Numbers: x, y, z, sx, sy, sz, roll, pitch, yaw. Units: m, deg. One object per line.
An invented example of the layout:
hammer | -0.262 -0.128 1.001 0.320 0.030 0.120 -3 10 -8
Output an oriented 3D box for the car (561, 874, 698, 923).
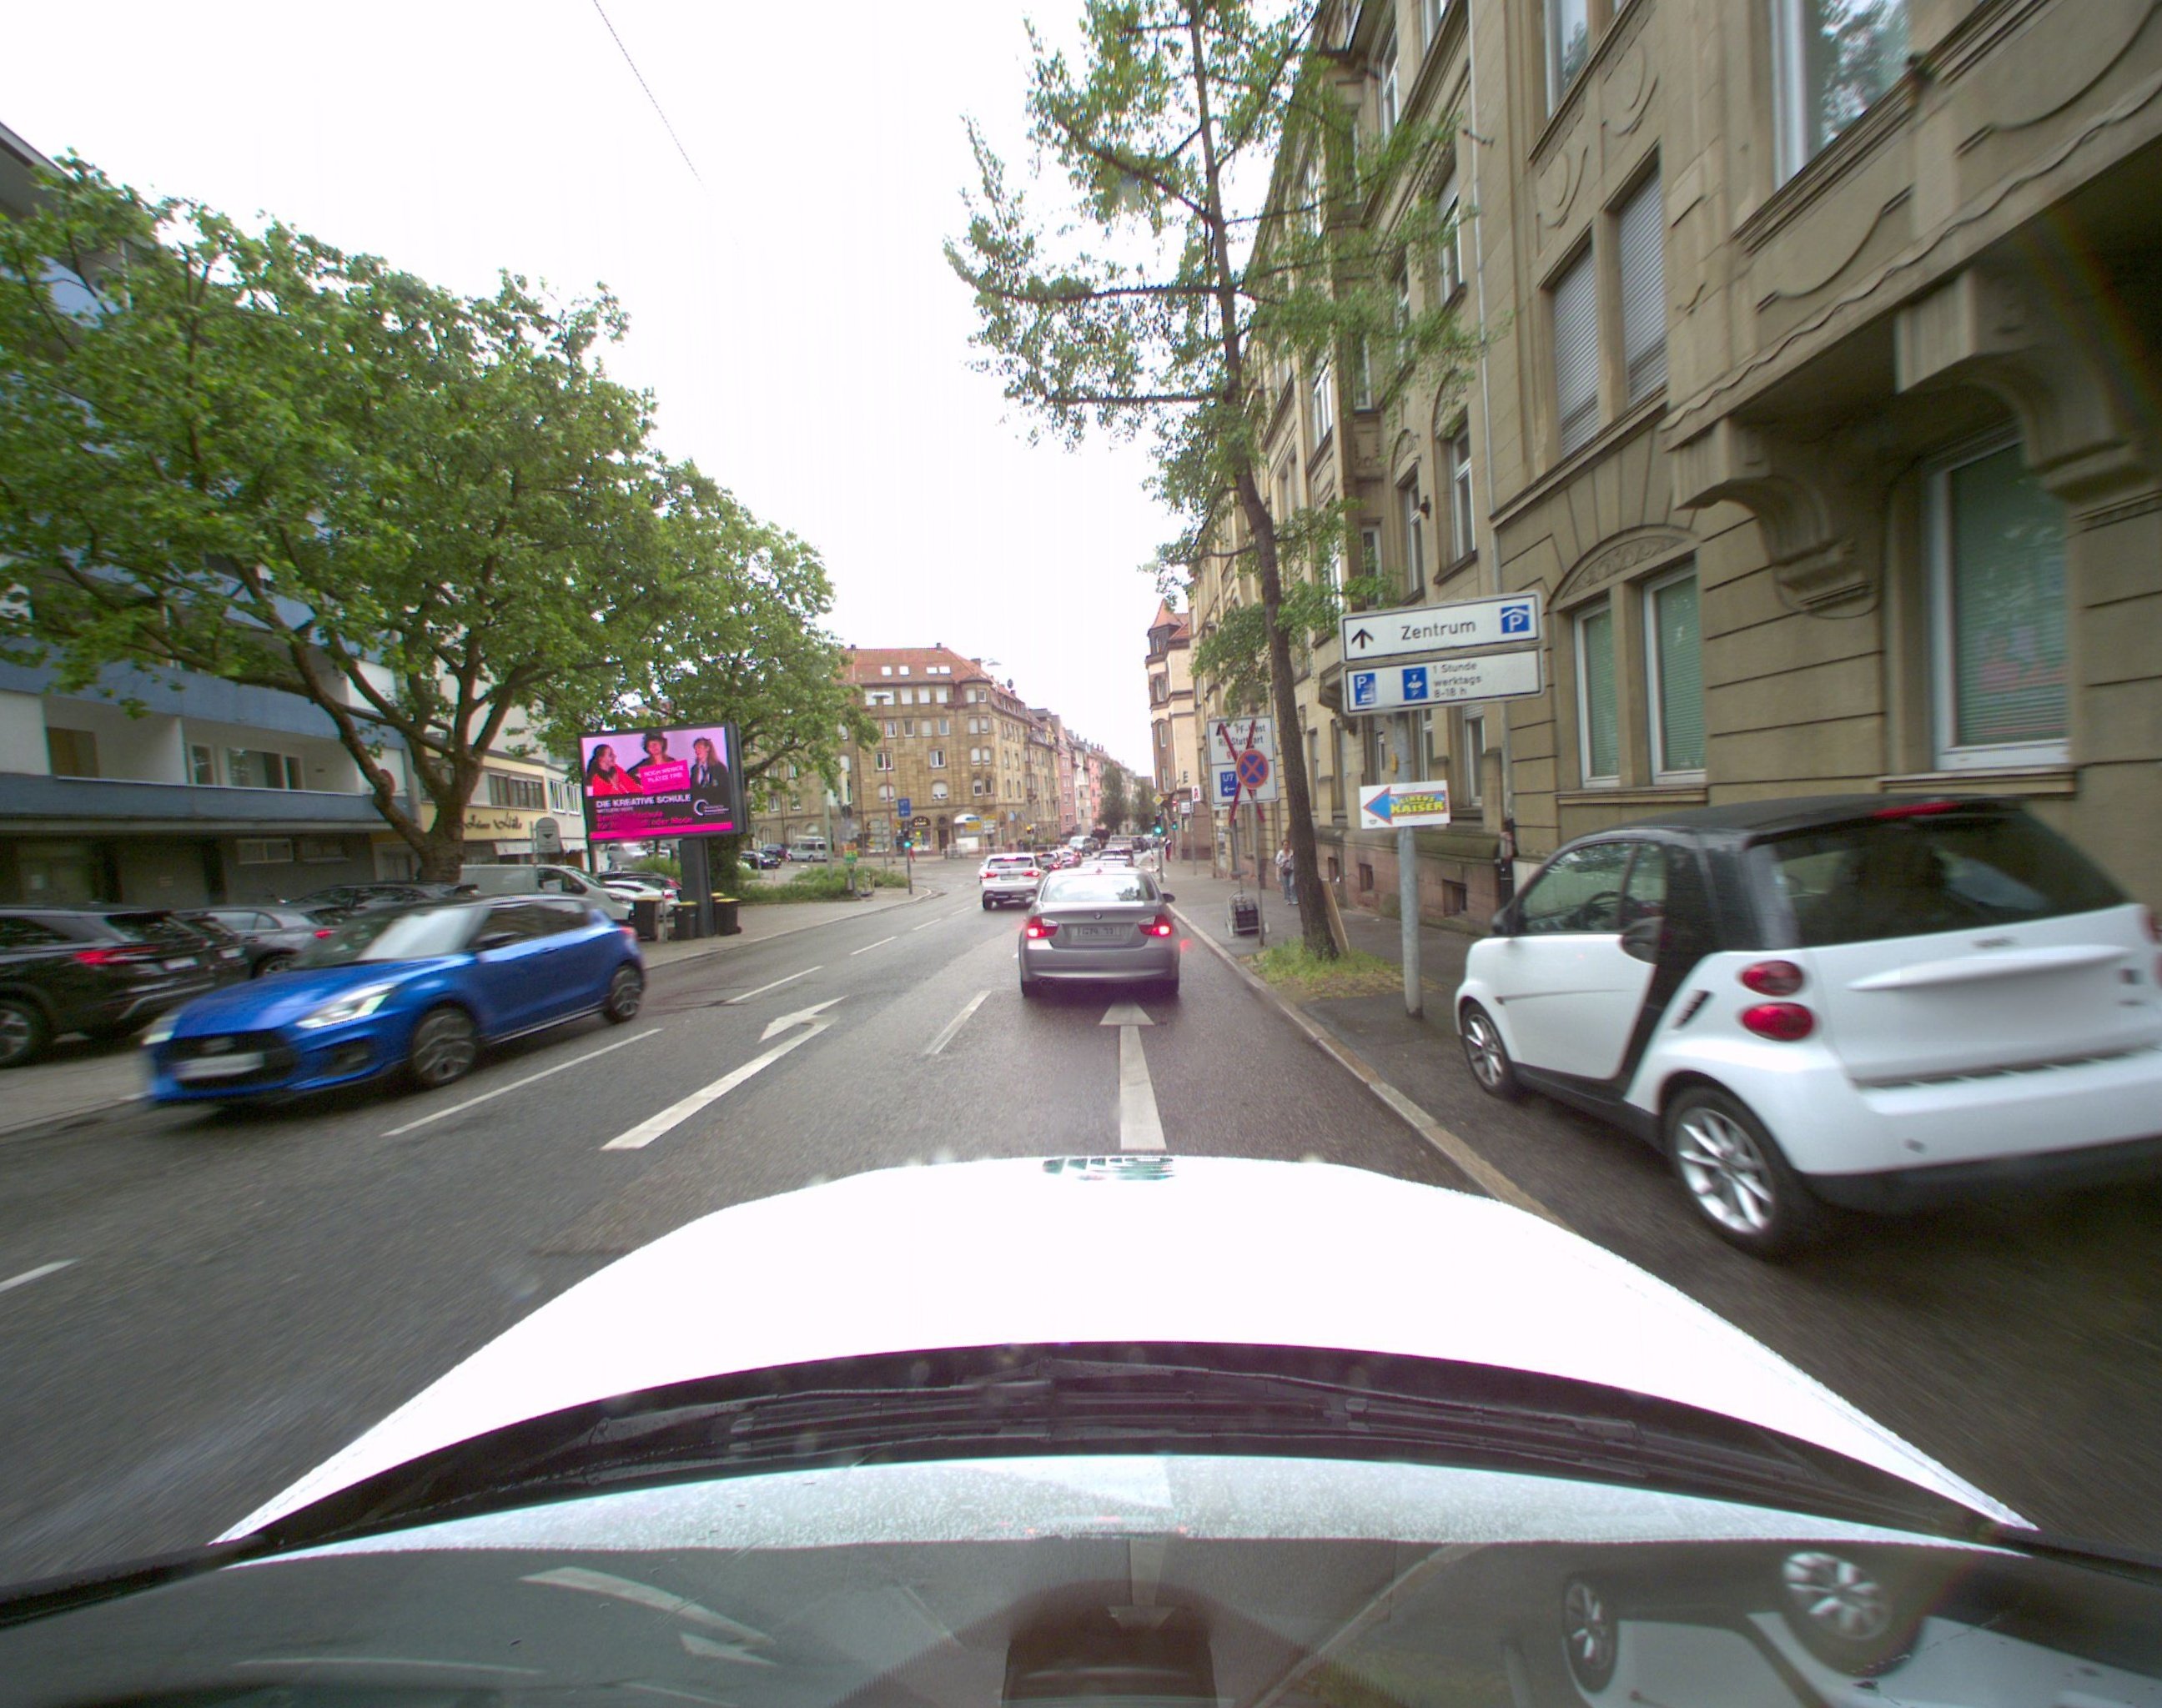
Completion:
car | -16.037 1.551 29.161 3.984 1.450 1.758 -2 0 -19

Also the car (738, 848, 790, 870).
car | -26.794 0.433 68.806 4.194 1.726 2.013 0 2 33

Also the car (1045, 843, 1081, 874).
car | -1.011 0.240 47.591 1.752 1.707 4.004 -2 0 3

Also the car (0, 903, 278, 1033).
car | -13.748 1.510 10.814 3.998 1.430 1.685 -2 0 -23

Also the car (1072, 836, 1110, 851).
car | 1.394 -1.452 111.738 5.157 2.014 2.699 0 -1 1

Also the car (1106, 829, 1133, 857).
car | 2.949 -0.819 63.236 1.986 2.106 4.002 -1 0 2

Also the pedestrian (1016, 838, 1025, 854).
pedestrian | -6.138 -0.804 82.498 0.727 1.577 0.530 -3 0 11

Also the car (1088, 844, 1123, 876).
car | 1.341 0.280 43.802 1.752 1.567 4.003 -2 0 2

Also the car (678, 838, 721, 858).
car | -40.891 -0.697 87.304 4.238 2.101 2.013 1 2 30

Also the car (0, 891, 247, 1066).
car | -12.319 1.357 8.671 4.381 1.672 1.842 -2 -1 -21

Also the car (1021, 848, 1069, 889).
car | -1.582 0.614 37.254 1.752 1.707 4.004 -2 0 3

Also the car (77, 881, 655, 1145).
car | -5.764 1.128 7.323 1.709 1.450 3.742 -7 0 1

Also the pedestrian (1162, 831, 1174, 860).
pedestrian | 5.927 -0.588 55.500 0.739 1.910 0.659 -3 0 1

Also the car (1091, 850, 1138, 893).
car | 1.293 0.616 30.551 1.588 1.464 4.004 -2 0 3

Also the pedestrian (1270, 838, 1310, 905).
pedestrian | 4.959 0.407 19.385 0.629 1.508 0.693 -7 0 1

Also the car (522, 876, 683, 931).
car | -15.452 1.566 26.535 4.183 1.456 1.783 -2 0 -19

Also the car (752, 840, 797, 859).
car | -30.648 -0.510 81.377 4.238 1.838 2.013 1 2 30

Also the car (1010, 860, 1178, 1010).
car | 0.234 0.813 9.791 1.616 1.383 3.618 -2 0 3

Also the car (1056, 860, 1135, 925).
car | 0.447 0.884 20.439 1.752 1.383 4.004 -2 0 3

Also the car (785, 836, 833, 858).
car | -26.362 -0.680 78.872 4.238 2.101 2.013 1 2 30

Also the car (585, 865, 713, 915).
car | -16.572 1.353 31.477 4.138 1.653 1.757 -2 0 -21

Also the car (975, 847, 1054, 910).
car | -1.955 0.676 25.169 1.861 1.625 4.002 -4 1 2

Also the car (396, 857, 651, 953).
car | -14.339 1.249 21.355 5.075 2.105 1.980 -2 0 -19

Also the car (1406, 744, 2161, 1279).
car | 2.901 0.494 4.056 1.294 1.543 2.977 -7 0 2

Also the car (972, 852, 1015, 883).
car | -4.975 0.729 46.982 1.731 1.526 4.473 -6 0 2

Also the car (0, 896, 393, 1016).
car | -13.953 1.531 13.162 3.939 1.430 1.734 -2 0 -23

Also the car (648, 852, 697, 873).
car | -37.708 0.764 75.118 4.195 1.726 2.013 -1 3 31

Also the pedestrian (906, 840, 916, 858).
pedestrian | -15.582 -0.454 74.757 0.532 1.577 0.723 -3 0 19

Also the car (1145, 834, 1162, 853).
car | 8.268 -1.148 92.874 1.715 2.014 4.009 0 -1 8

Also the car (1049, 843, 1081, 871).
car | -1.027 0.154 53.423 1.752 1.707 4.004 -2 0 3

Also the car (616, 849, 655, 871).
car | -43.279 0.633 79.077 3.948 2.013 1.587 -2 0 34

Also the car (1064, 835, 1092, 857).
car | -0.231 -0.760 75.478 1.751 1.925 4.335 -3 0 9

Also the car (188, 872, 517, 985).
car | -14.069 1.360 16.097 4.369 1.784 1.927 -2 0 -19

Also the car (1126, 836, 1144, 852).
car | 5.446 -0.992 81.832 1.717 1.552 4.004 0 -1 4
